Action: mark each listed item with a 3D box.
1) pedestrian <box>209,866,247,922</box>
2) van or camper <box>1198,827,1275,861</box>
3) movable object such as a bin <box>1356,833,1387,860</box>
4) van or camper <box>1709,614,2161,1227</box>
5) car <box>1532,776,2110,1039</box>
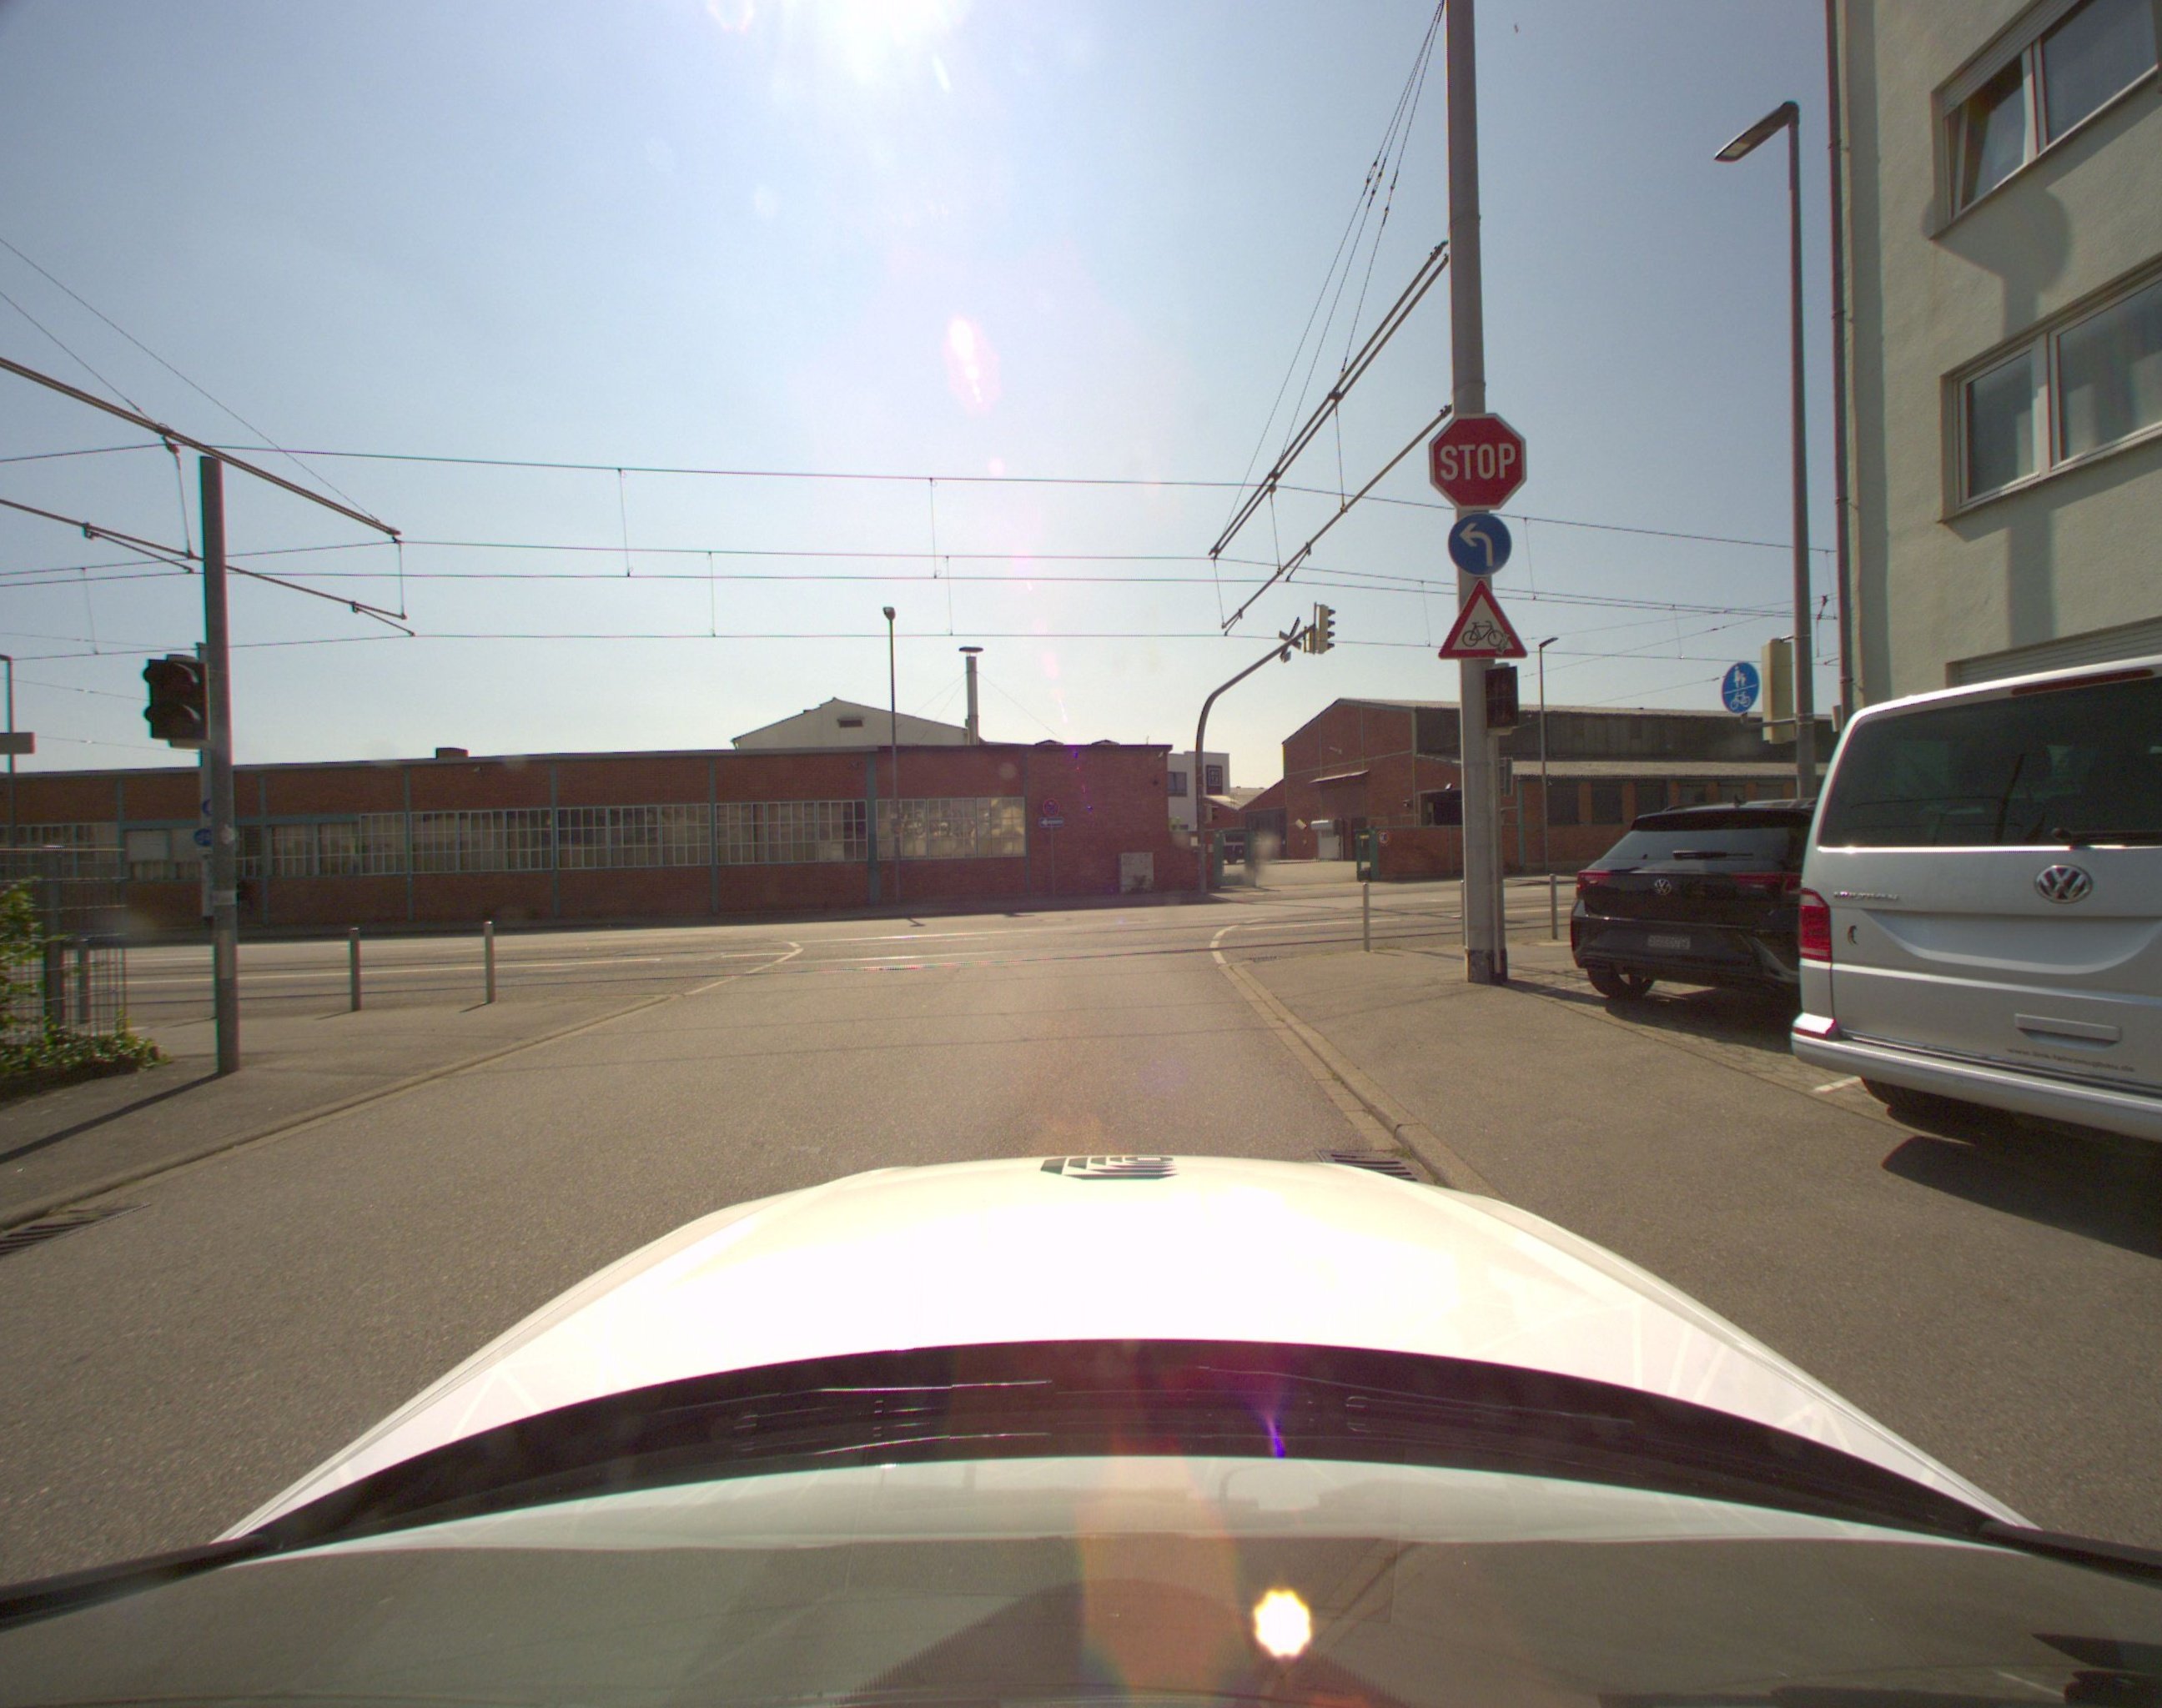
[{"bbox_3d":[-27.386,1.268,26.152,0.445,1.765,0.688,1,-1,10],"label":"pedestrian"},{"bbox_3d":[9.385,-0.549,48.979,4.439,1.900,1.979,1,-1,-34],"label":"van or camper"},{"bbox_3d":[14.715,-0.359,41.343,0.976,1.314,1.146,-2,0,-15],"label":"movable object such as a bin"},{"bbox_3d":[5.408,0.138,3.587,4.555,1.908,1.987,-2,0,-19],"label":"van or camper"},{"bbox_3d":[5.757,0.281,6.365,3.978,1.521,1.866,-1,0,-23],"label":"car"}]
